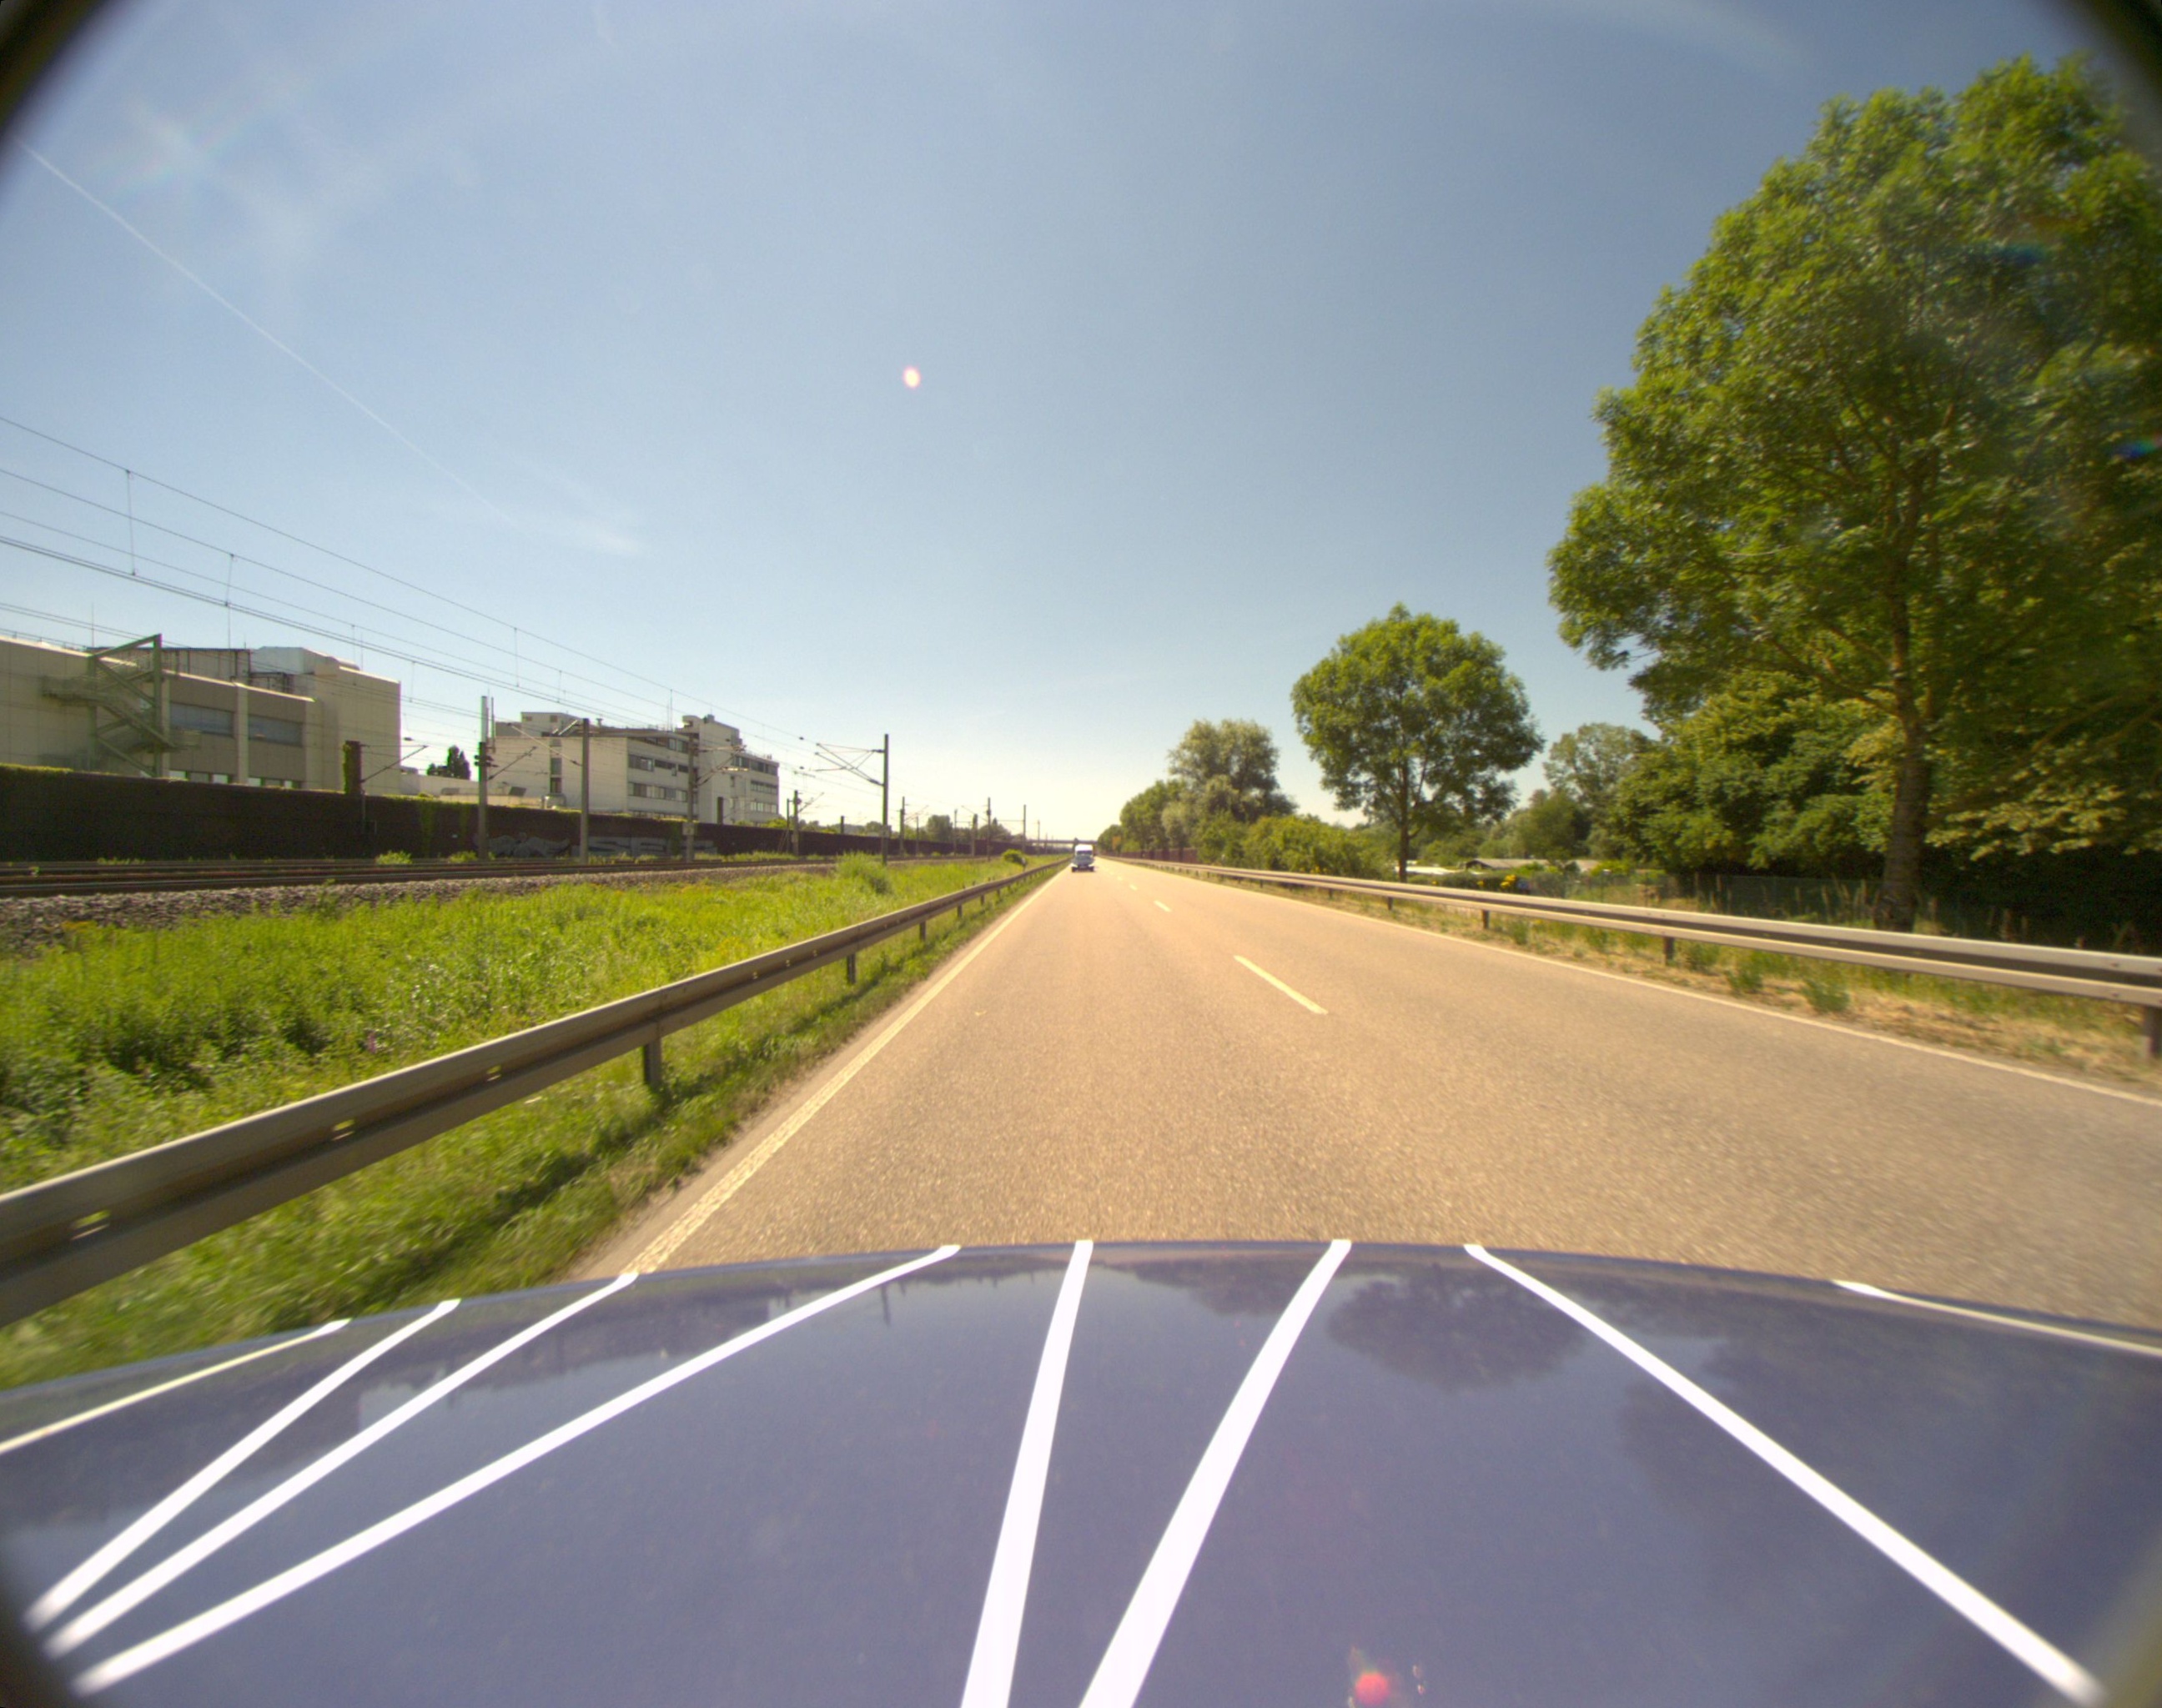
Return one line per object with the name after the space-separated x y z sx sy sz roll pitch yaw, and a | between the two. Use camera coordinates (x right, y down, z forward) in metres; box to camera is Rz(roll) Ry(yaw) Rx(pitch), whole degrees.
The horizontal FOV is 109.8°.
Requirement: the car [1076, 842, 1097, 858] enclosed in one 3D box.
0.616 -0.450 85.482 2.161 1.701 4.492 -2 0 0 | car

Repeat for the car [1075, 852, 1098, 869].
0.438 0.519 62.474 1.758 1.313 4.000 -2 0 0 | car
